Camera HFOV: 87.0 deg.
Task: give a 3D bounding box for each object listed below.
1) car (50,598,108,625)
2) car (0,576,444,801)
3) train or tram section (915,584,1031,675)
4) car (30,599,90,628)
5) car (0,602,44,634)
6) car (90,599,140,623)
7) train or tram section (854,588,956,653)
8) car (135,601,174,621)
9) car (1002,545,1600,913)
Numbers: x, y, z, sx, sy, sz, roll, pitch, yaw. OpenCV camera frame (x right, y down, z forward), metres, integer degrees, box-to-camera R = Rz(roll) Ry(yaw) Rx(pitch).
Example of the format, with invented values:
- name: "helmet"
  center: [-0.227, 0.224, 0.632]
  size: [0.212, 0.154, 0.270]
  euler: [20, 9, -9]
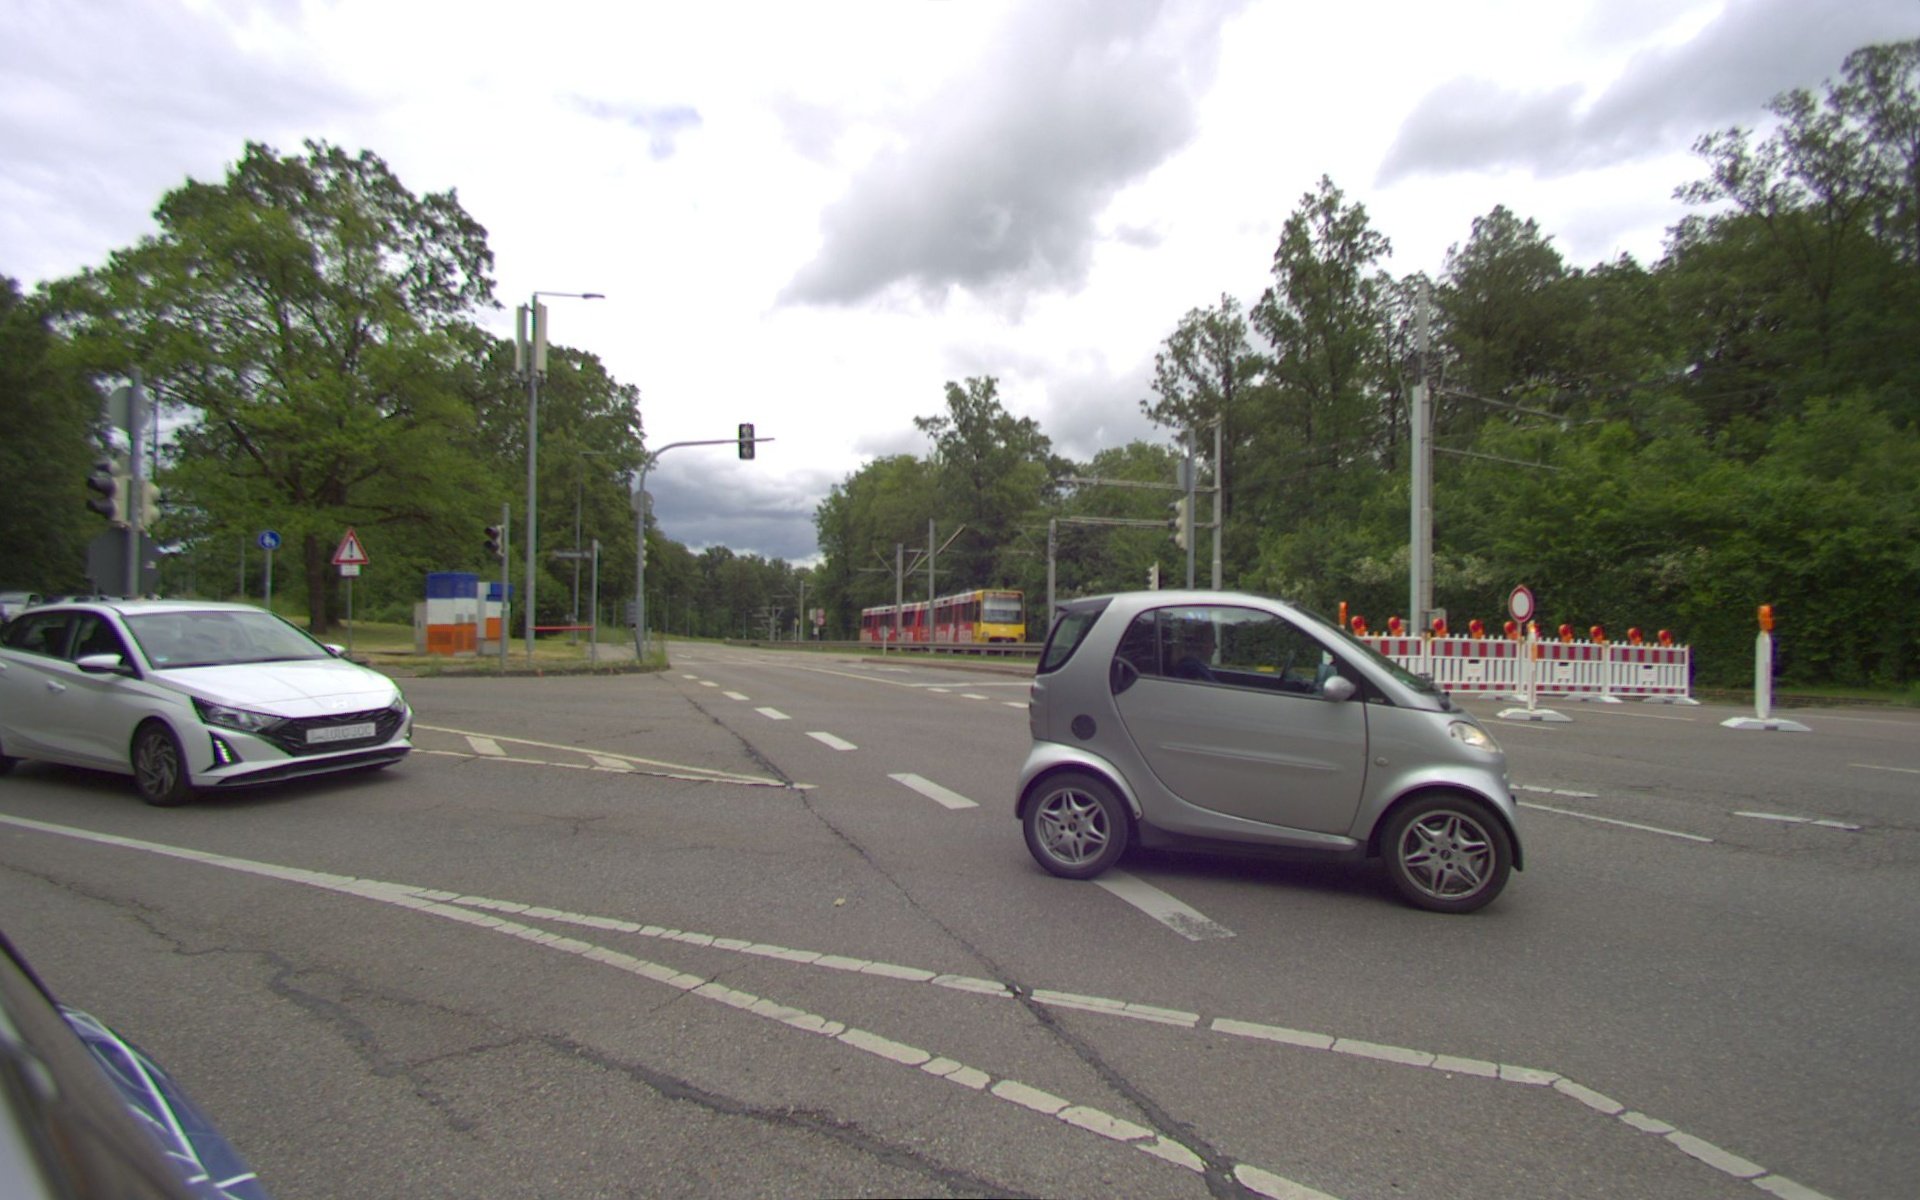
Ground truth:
- name: "car"
  center: [-52.622, 0.684, 60.545]
  size: [1.749, 1.511, 3.885]
  euler: [3, -2, -28]
- name: "car"
  center: [-6.446, 0.607, 8.385]
  size: [4.047, 1.490, 1.642]
  euler: [1, -2, 24]
- name: "train or tram section"
  center: [0.273, 1.517, 61.869]
  size: [2.908, 4.685, 18.591]
  euler: [3, 0, -12]
- name: "car"
  center: [-49.385, 0.758, 55.602]
  size: [1.749, 1.511, 3.884]
  euler: [3, -2, -31]
- name: "car"
  center: [-46.847, 0.876, 49.884]
  size: [1.749, 1.511, 3.884]
  euler: [3, -2, -31]
- name: "car"
  center: [-56.163, 0.763, 67.322]
  size: [1.749, 1.511, 3.885]
  euler: [3, -2, -28]
- name: "train or tram section"
  center: [-4.763, 1.386, 79.918]
  size: [2.914, 4.451, 18.789]
  euler: [3, 0, -18]
- name: "car"
  center: [-64.473, 0.903, 81.048]
  size: [1.749, 1.511, 3.885]
  euler: [3, -2, -28]
- name: "car"
  center: [1.751, 0.561, 5.568]
  size: [2.707, 1.598, 1.452]
  euler: [1, -2, 20]
